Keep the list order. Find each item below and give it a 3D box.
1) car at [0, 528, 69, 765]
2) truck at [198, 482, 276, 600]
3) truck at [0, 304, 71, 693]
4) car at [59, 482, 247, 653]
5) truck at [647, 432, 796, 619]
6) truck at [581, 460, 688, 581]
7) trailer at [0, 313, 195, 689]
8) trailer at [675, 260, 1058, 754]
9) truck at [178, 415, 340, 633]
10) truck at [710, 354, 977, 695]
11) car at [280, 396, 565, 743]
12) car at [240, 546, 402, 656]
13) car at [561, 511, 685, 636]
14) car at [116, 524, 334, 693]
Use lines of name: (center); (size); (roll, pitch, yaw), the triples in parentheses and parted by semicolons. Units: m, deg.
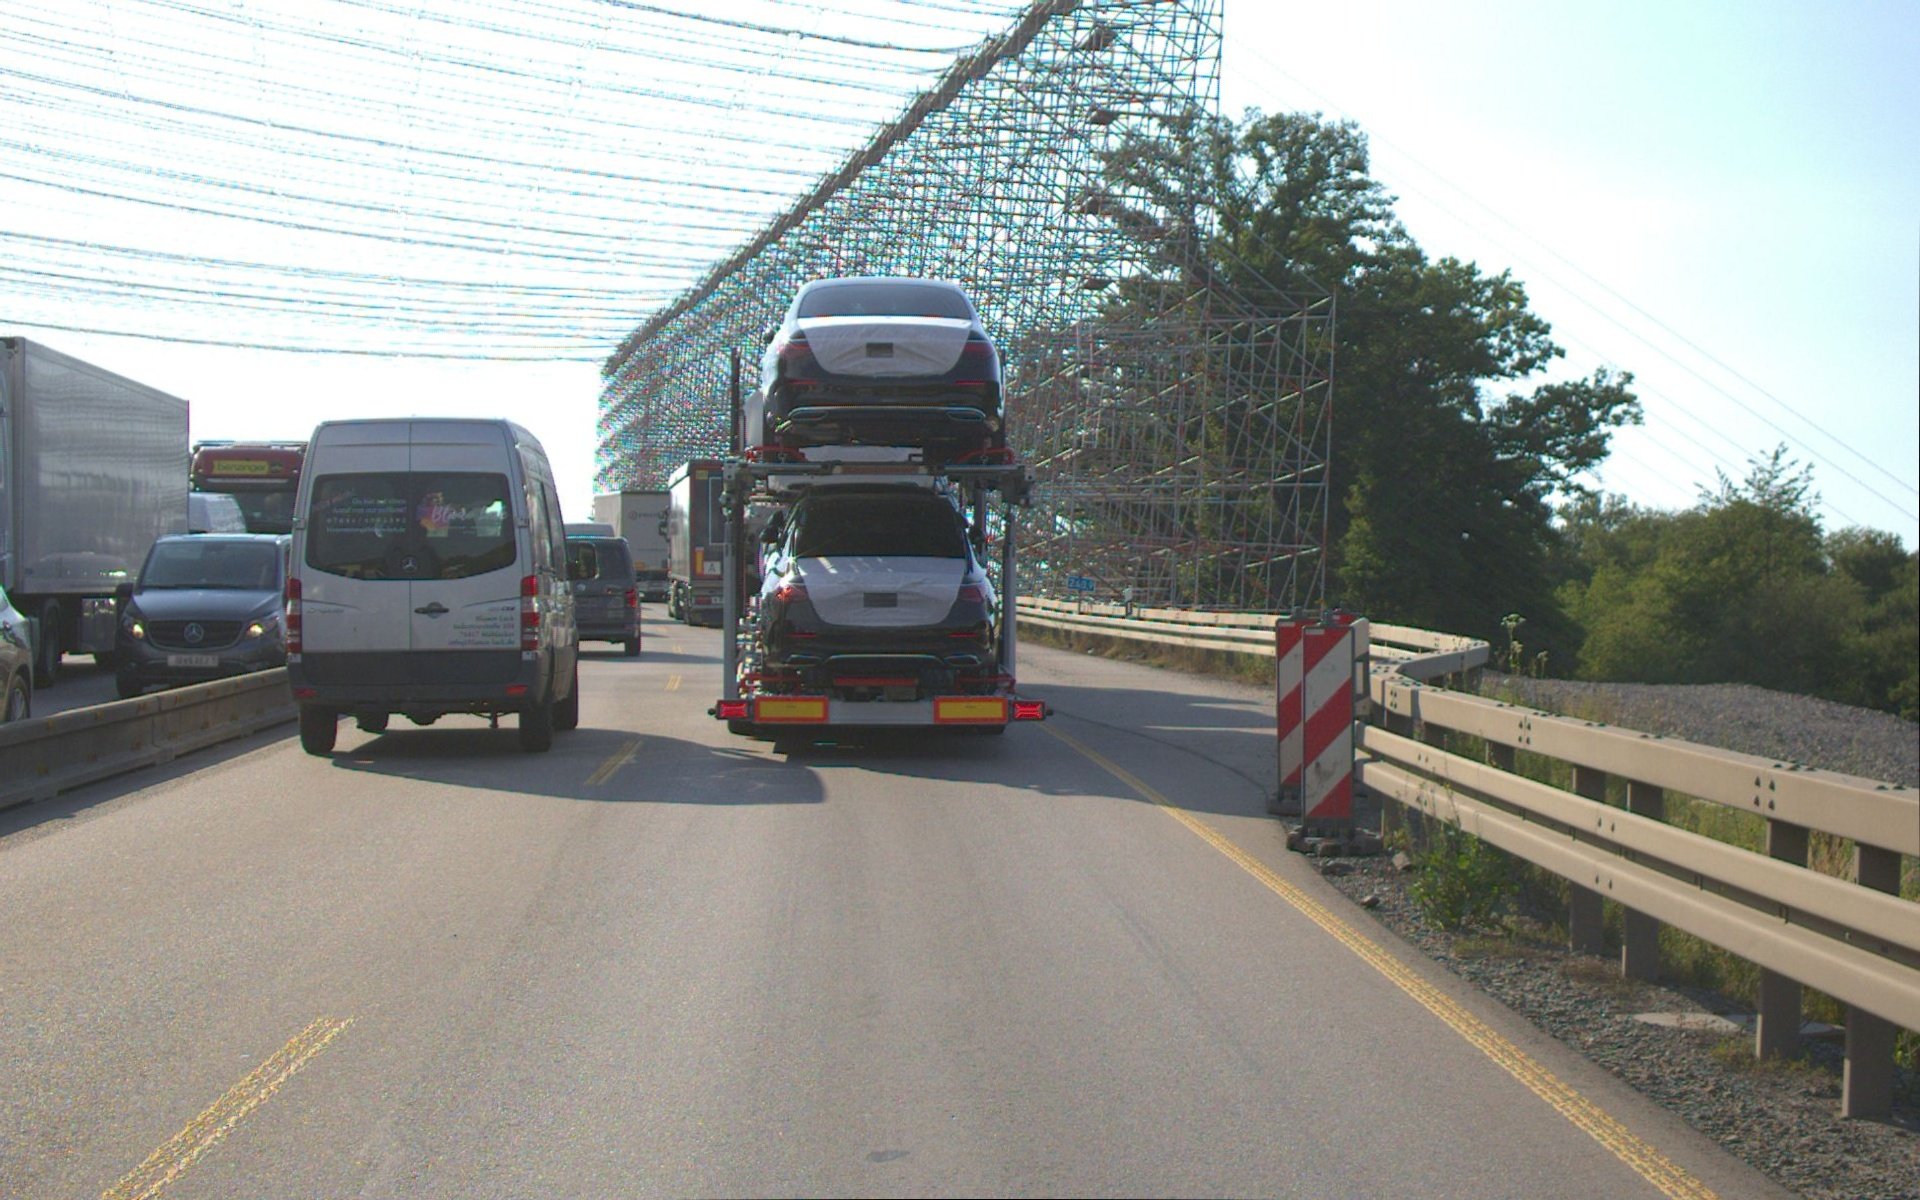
car: (-7.365, 0.356, 22.712); (1.817, 1.573, 4.756); (-2, 2, -2)
truck: (-26.458, -2.142, 125.611); (2.661, 4.215, 6.106); (0, 1, -13)
truck: (-11.849, -1.114, 38.522); (2.712, 4.203, 5.683); (0, 0, -5)
car: (-13.612, -0.614, 58.426); (2.021, 2.681, 6.950); (1, 1, -4)
truck: (-6.179, -1.880, 87.378); (2.731, 4.370, 11.524); (1, 1, -9)
truck: (-12.365, -2.993, 130.485); (3.686, 4.206, 13.671); (-2, 1, -5)
trailer: (-12.414, -1.174, 45.293); (2.720, 4.203, 13.751); (0, 0, -5)
trailer: (-1.063, -0.763, 33.449); (2.868, 3.712, 14.949); (0, 0, -3)
truck: (-14.411, -1.530, 71.019); (2.744, 4.285, 5.935); (0, 0, -6)
truck: (-1.464, -0.850, 41.040); (2.881, 3.690, 7.326); (0, 0, -3)
car: (-4.287, -0.240, 27.966); (1.956, 2.612, 4.001); (0, 0, -4)
car: (-9.875, -0.018, 53.408); (1.887, 1.563, 4.456); (1, 1, -3)
car: (-5.745, -0.446, 58.405); (1.993, 2.007, 4.001); (1, 0, -6)
car: (-8.533, 0.036, 40.307); (1.804, 1.766, 5.454); (1, 2, -5)
